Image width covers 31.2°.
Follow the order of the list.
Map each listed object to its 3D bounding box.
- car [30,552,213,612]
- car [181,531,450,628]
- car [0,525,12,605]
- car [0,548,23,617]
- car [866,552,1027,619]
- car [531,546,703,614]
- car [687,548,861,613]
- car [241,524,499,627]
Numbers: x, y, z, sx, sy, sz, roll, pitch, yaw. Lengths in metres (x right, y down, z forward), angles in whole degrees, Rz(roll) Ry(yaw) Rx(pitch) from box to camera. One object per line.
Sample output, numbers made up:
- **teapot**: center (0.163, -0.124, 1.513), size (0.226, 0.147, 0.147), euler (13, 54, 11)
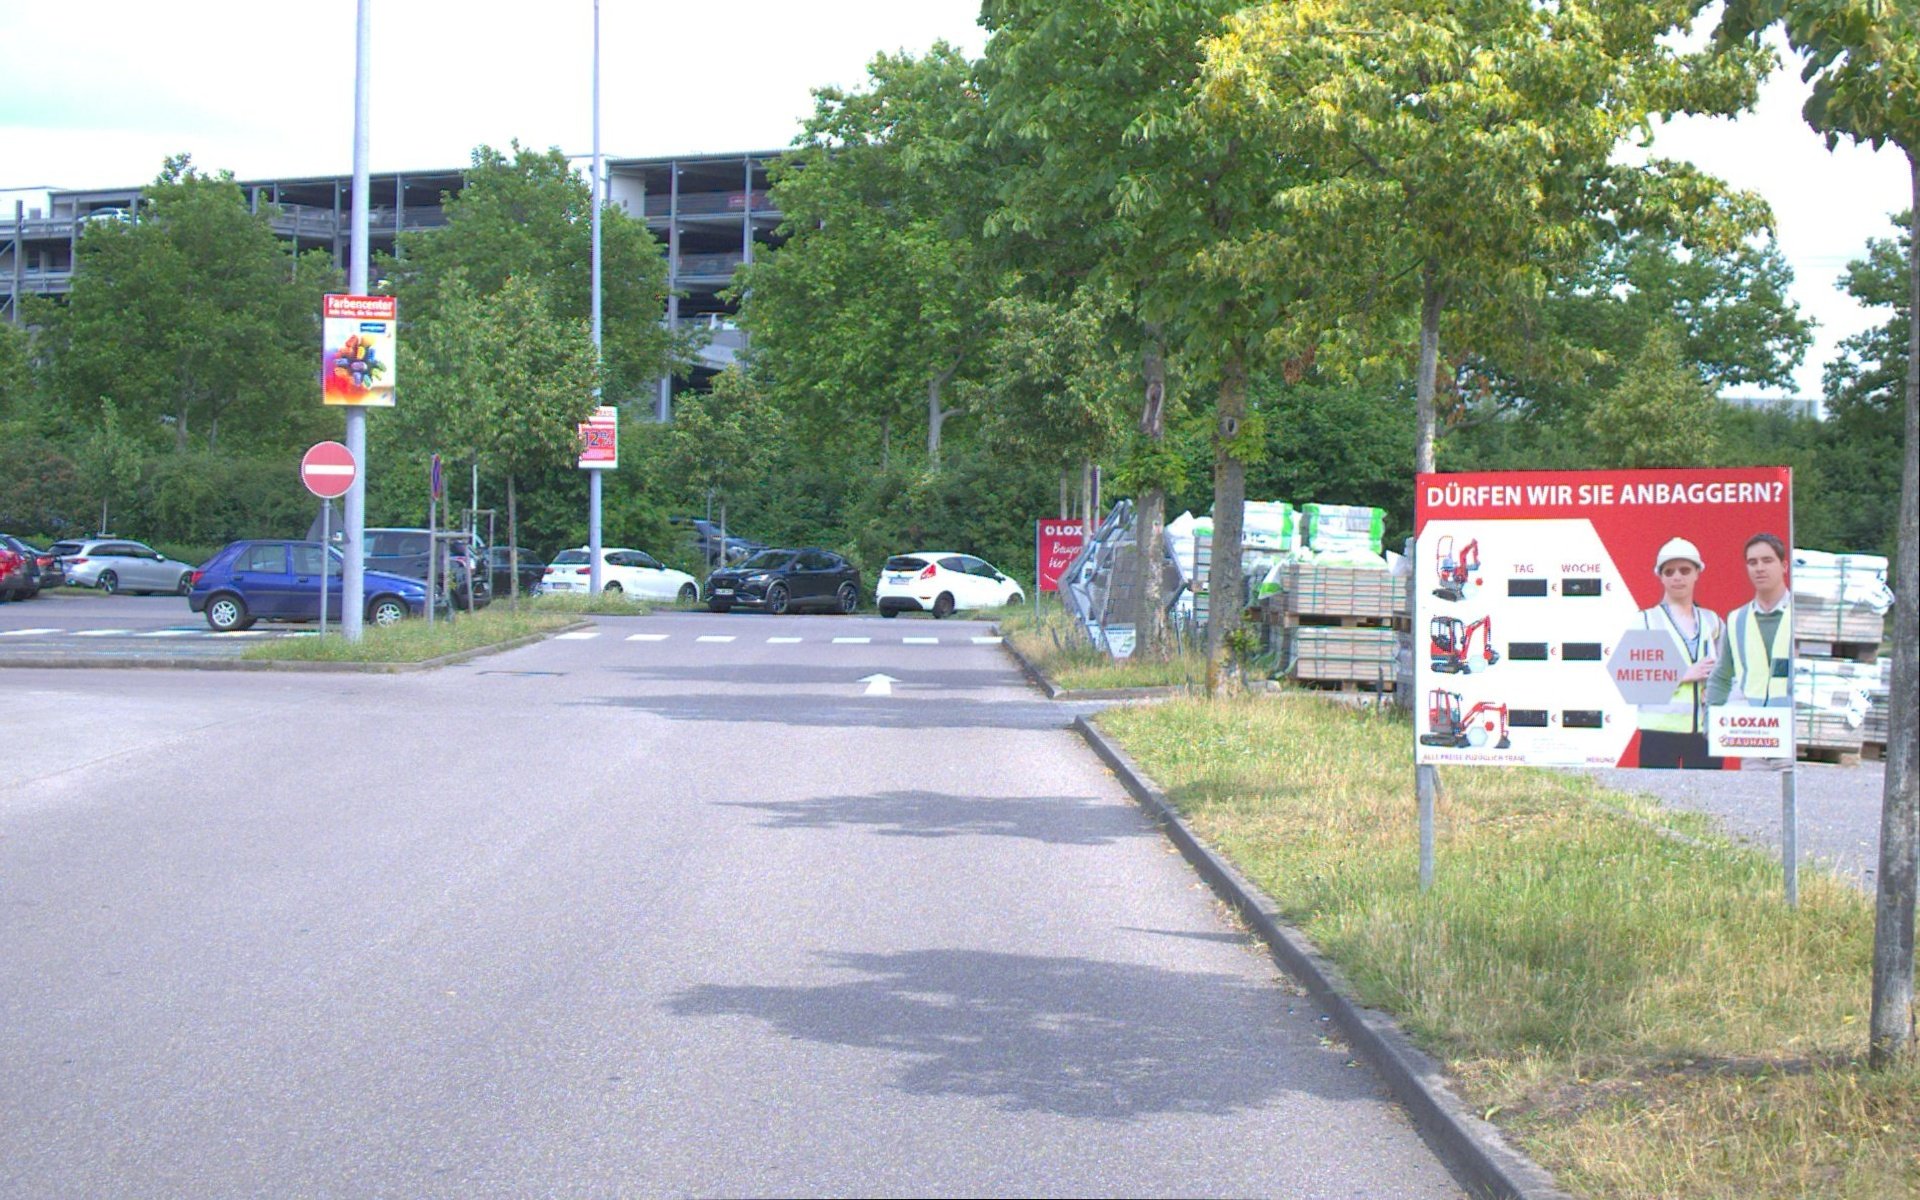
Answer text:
- **car**: center (-21.832, -0.468, 89.694), size (1.782, 1.499, 4.645), euler (1, 1, 33)
- **car**: center (-9.723, -0.319, 52.053), size (3.750, 1.363, 1.621), euler (1, 1, -1)
- **car**: center (-20.649, -0.719, 67.800), size (3.435, 1.576, 1.710), euler (1, 1, -3)
- **car**: center (-21.391, -0.399, 70.152), size (4.074, 1.394, 1.767), euler (1, 1, -3)
- **car**: center (-0.273, -0.310, 75.503), size (1.668, 1.407, 3.549), euler (2, 1, 38)
- **car**: center (-8.052, -0.452, 80.991), size (1.688, 1.504, 4.073), euler (-2, -1, 37)
- **car**: center (-4.197, -0.436, 78.274), size (1.731, 1.405, 4.234), euler (1, 1, 34)
- **car**: center (-9.774, -0.407, 57.115), size (3.950, 1.619, 1.736), euler (1, 1, 1)
